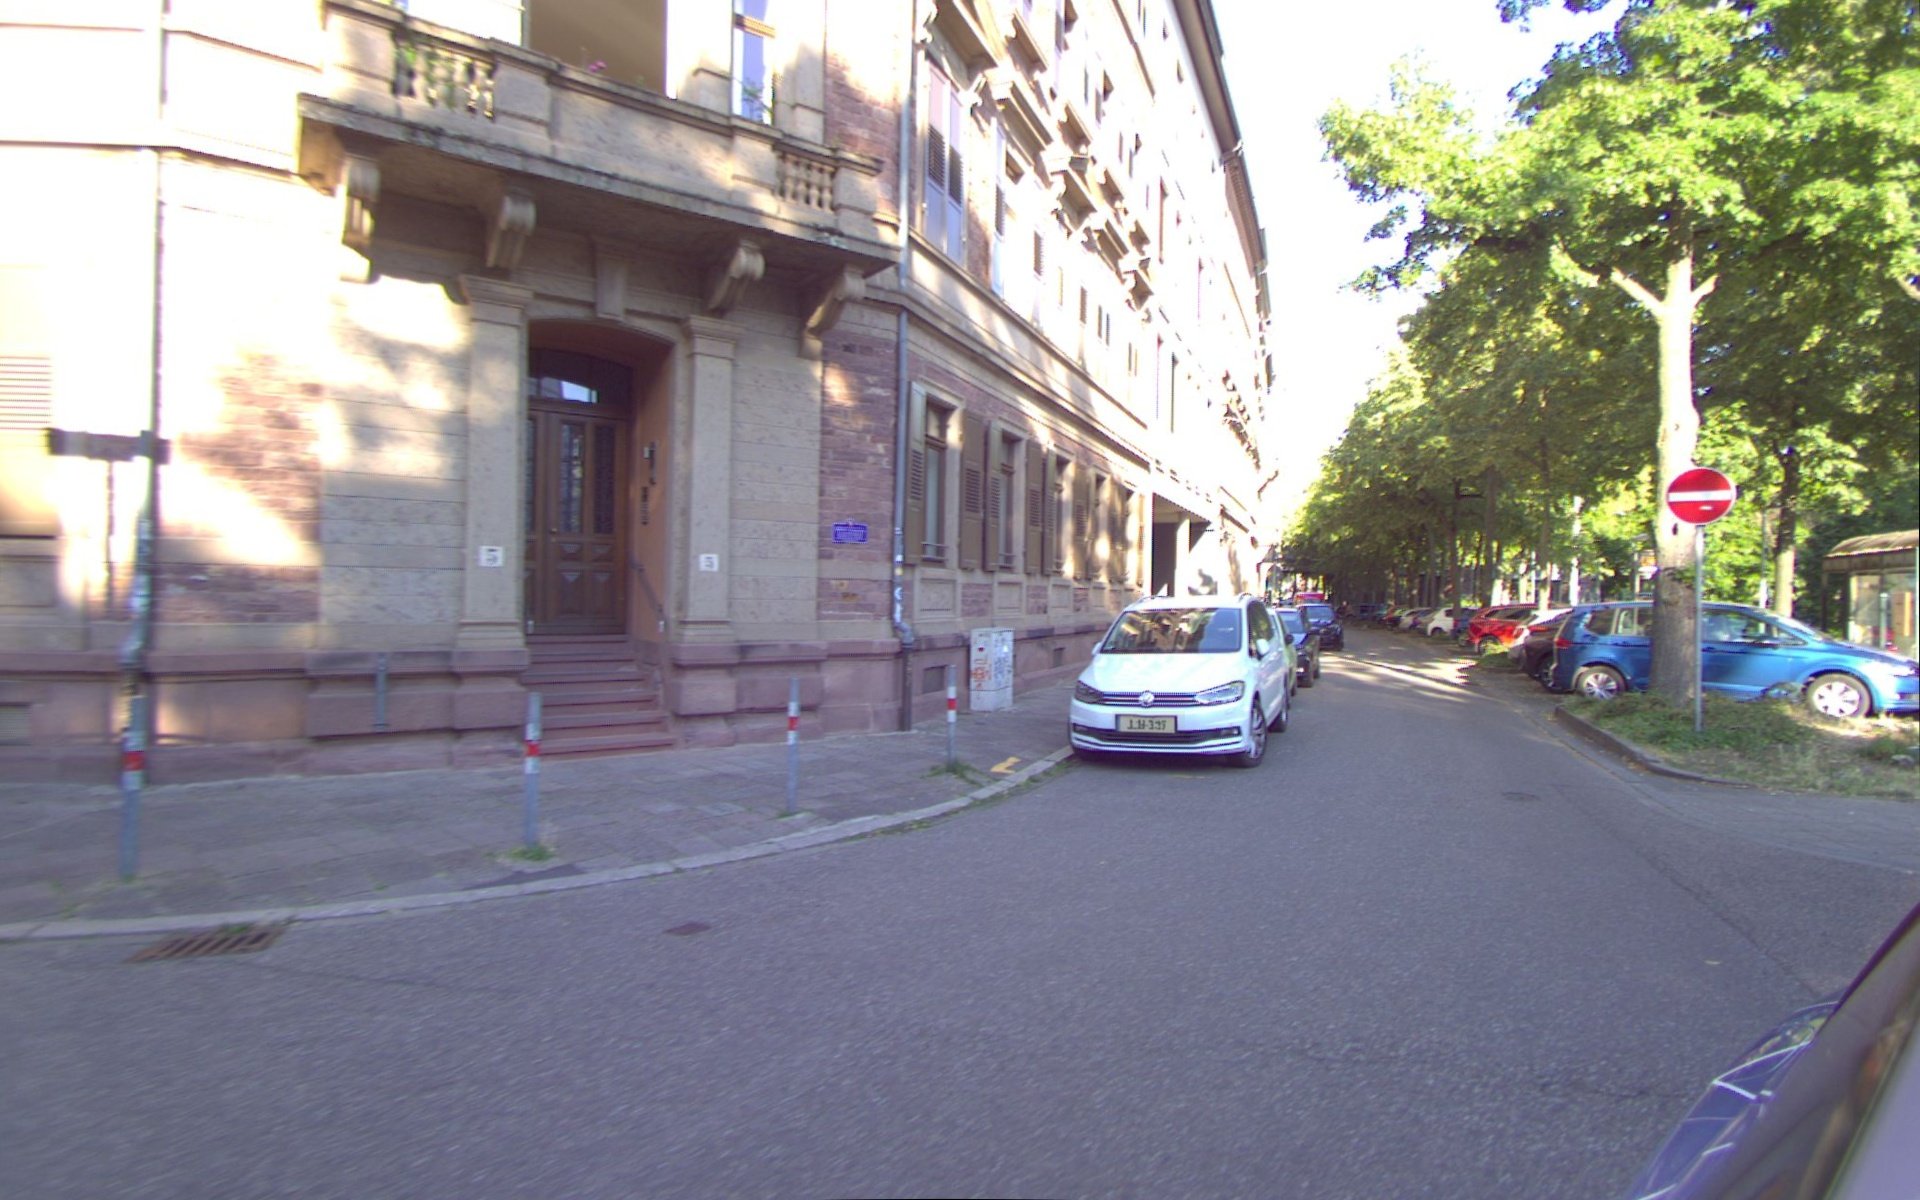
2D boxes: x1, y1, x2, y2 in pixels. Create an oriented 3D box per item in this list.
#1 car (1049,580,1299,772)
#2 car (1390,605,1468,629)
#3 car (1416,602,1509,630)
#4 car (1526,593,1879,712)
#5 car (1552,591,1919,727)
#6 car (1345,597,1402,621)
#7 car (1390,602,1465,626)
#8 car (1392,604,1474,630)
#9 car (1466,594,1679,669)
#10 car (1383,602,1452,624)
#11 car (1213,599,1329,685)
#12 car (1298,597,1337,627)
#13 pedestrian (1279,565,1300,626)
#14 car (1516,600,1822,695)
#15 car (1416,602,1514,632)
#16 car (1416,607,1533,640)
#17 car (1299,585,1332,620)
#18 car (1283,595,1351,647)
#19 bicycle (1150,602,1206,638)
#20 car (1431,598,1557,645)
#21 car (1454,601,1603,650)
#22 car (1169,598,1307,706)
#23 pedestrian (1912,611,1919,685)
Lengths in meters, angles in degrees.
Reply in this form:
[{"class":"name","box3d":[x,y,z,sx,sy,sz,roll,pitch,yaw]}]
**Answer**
[{"class":"car","box3d":[2.578,0.678,11.228,1.853,1.670,4.462,-1,-1,23]},{"class":"car","box3d":[28.758,1.019,62.103,1.716,1.295,3.998,1,1,-38]},{"class":"car","box3d":[26.222,0.822,52.875,1.716,1.295,3.998,1,1,-38]},{"class":"car","box3d":[12.613,0.784,17.486,1.894,1.655,4.551,1,1,-37]},{"class":"car","box3d":[11.405,0.752,14.838,1.711,1.709,4.414,1,-1,-40]},{"class":"car","box3d":[33.735,0.732,82.648,3.981,1.789,1.724,3,1,39]},{"class":"car","box3d":[29.674,0.868,64.320,1.716,1.295,3.998,1,1,-38]},{"class":"car","box3d":[27.688,0.970,59.276,1.716,1.295,3.998,1,1,-38]},{"class":"car","box3d":[16.386,0.783,27.338,1.890,1.743,4.560,2,1,-28]},{"class":"car","box3d":[31.590,0.898,70.001,1.716,1.295,3.998,1,1,-38]},{"class":"car","box3d":[6.243,0.762,20.022,1.723,1.508,4.131,-1,-1,24]},{"class":"car","box3d":[20.511,0.663,58.171,1.975,1.587,4.583,2,1,19]},{"class":"pedestrian","box3d":[16.404,-0.240,50.408,0.909,2.984,0.696,1,0,19]},{"class":"car","box3d":[13.734,0.835,19.874,1.894,1.505,4.551,1,1,-37]},{"class":"car","box3d":[25.029,0.807,50.288,1.716,1.295,3.998,1,1,-38]},{"class":"car","box3d":[22.761,1.037,44.863,1.776,1.295,4.279,2,0,-38]},{"class":"car","box3d":[24.116,0.161,68.734,1.975,2.200,4.583,2,1,19]},{"class":"car","box3d":[12.353,0.665,34.867,1.977,1.587,4.559,2,1,22]},{"class":"bicycle","box3d":[7.193,0.656,33.400,2.059,1.130,0.682,1,0,-40]},{"class":"car","box3d":[22.074,0.840,42.008,1.774,1.716,4.284,1,1,-34]},{"class":"car","box3d":[20.215,0.863,36.159,1.774,1.505,4.284,1,1,-34]},{"class":"car","box3d":[4.544,0.751,16.214,1.721,1.508,3.697,-1,-1,22]},{"class":"pedestrian","box3d":[17.223,0.858,17.519,0.815,1.288,0.870,1,0,23]}]
